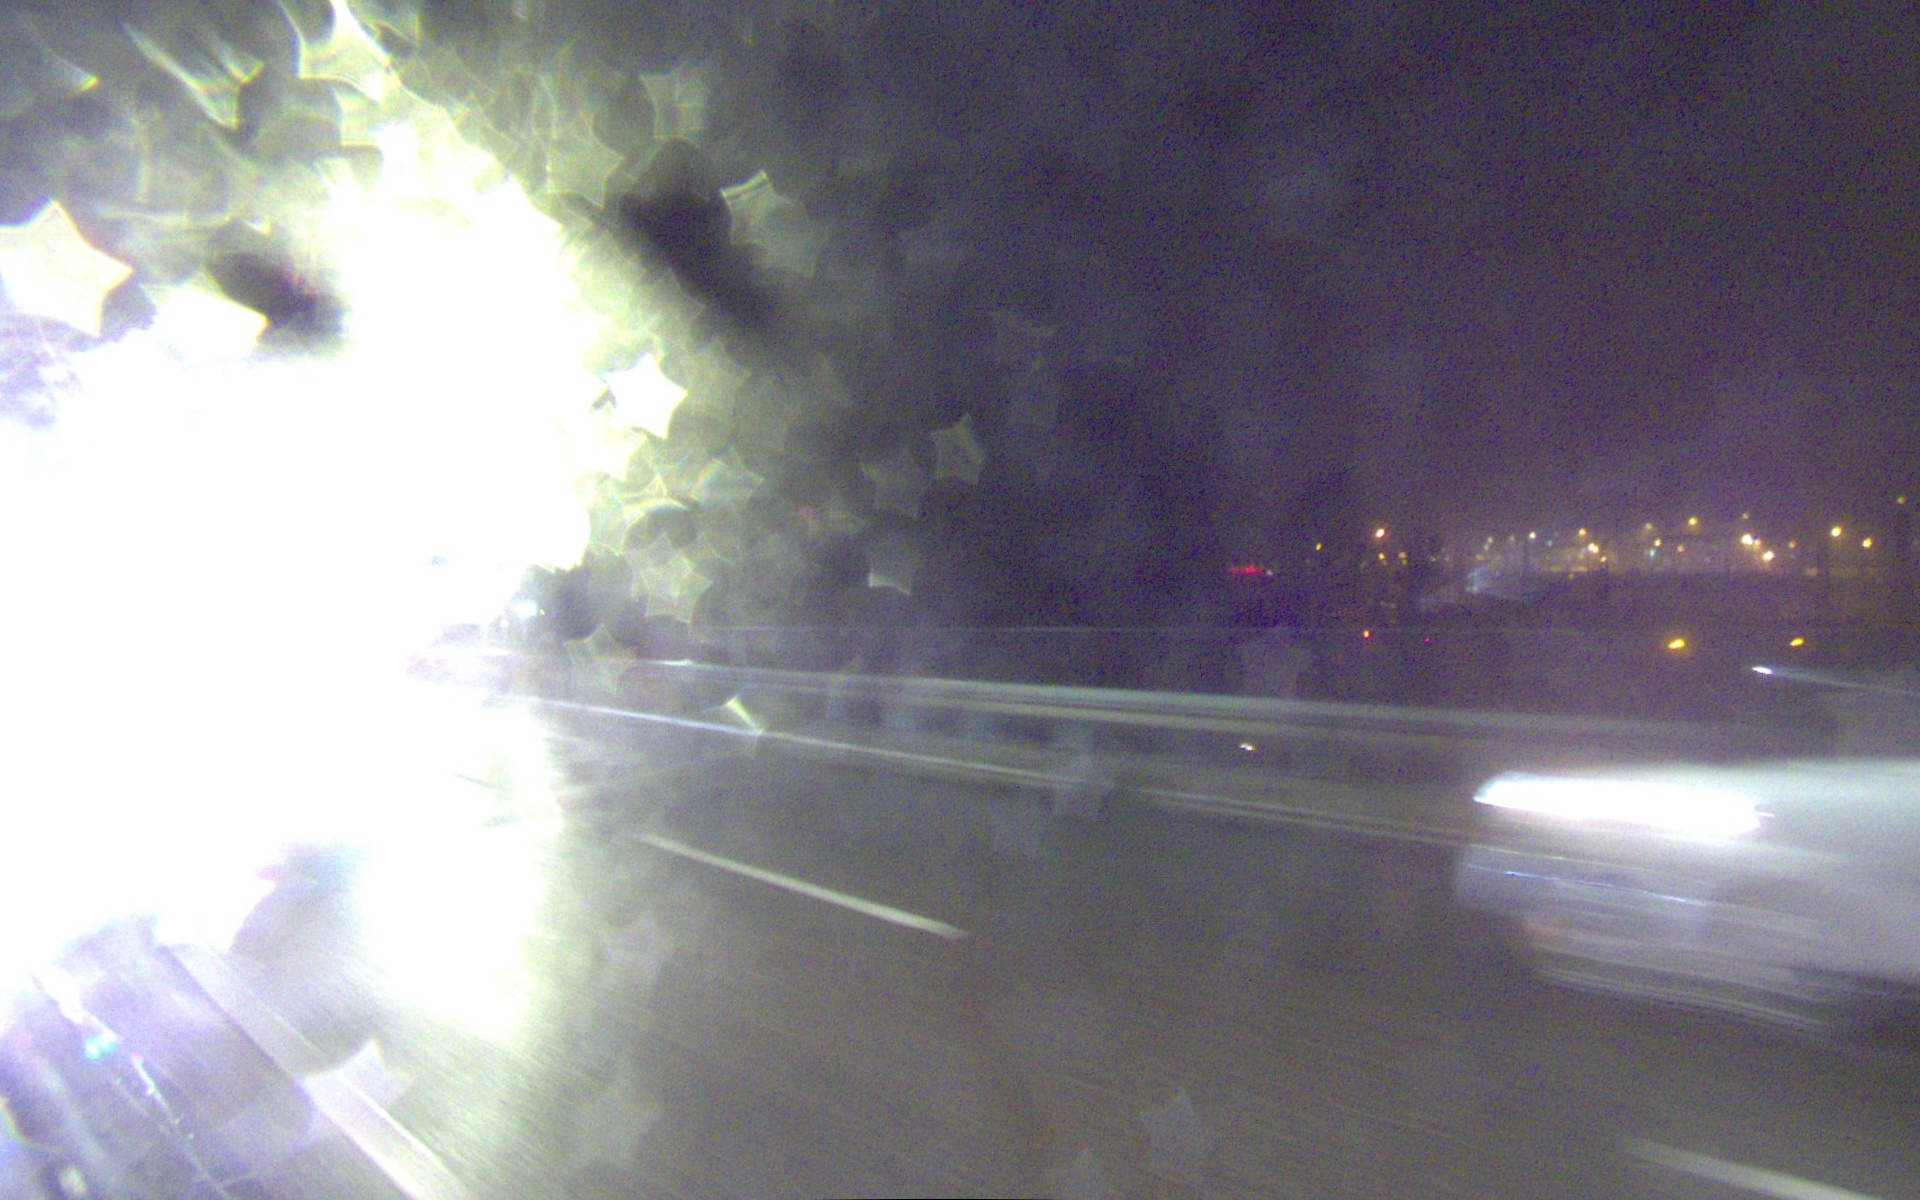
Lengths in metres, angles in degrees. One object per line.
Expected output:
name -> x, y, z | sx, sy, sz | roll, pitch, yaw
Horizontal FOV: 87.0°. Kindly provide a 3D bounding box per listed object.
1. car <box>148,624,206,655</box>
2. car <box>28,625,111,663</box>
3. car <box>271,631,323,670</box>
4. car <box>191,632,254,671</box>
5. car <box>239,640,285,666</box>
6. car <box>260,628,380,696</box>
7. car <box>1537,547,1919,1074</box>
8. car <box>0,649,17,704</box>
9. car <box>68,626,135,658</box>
car -> -53.718, 2.716, 69.499 | 1.838, 2.029, 4.012 | -1, -1, -17
car -> -50.463, 2.482, 57.454 | 1.966, 2.029, 4.011 | -1, -1, -15
car -> -27.499, 2.063, 41.938 | 1.743, 1.529, 3.959 | 1, -2, -34
car -> -34.408, 2.347, 47.341 | 1.971, 1.687, 4.630 | -1, -1, -31
car -> -57.925, 4.364, 84.068 | 1.839, 2.029, 4.011 | -1, -1, -14
car -> -15.023, 1.382, 23.651 | 1.744, 1.438, 4.225 | 2, -3, -41
car -> 3.835, 0.621, 3.196 | 3.192, 1.597, 1.454 | -3, -3, 44
car -> -30.907, 2.542, 31.789 | 1.287, 1.538, 3.053 | -15, 10, -36
car -> -57.072, 2.752, 67.338 | 1.839, 2.029, 4.011 | -1, -1, -15
